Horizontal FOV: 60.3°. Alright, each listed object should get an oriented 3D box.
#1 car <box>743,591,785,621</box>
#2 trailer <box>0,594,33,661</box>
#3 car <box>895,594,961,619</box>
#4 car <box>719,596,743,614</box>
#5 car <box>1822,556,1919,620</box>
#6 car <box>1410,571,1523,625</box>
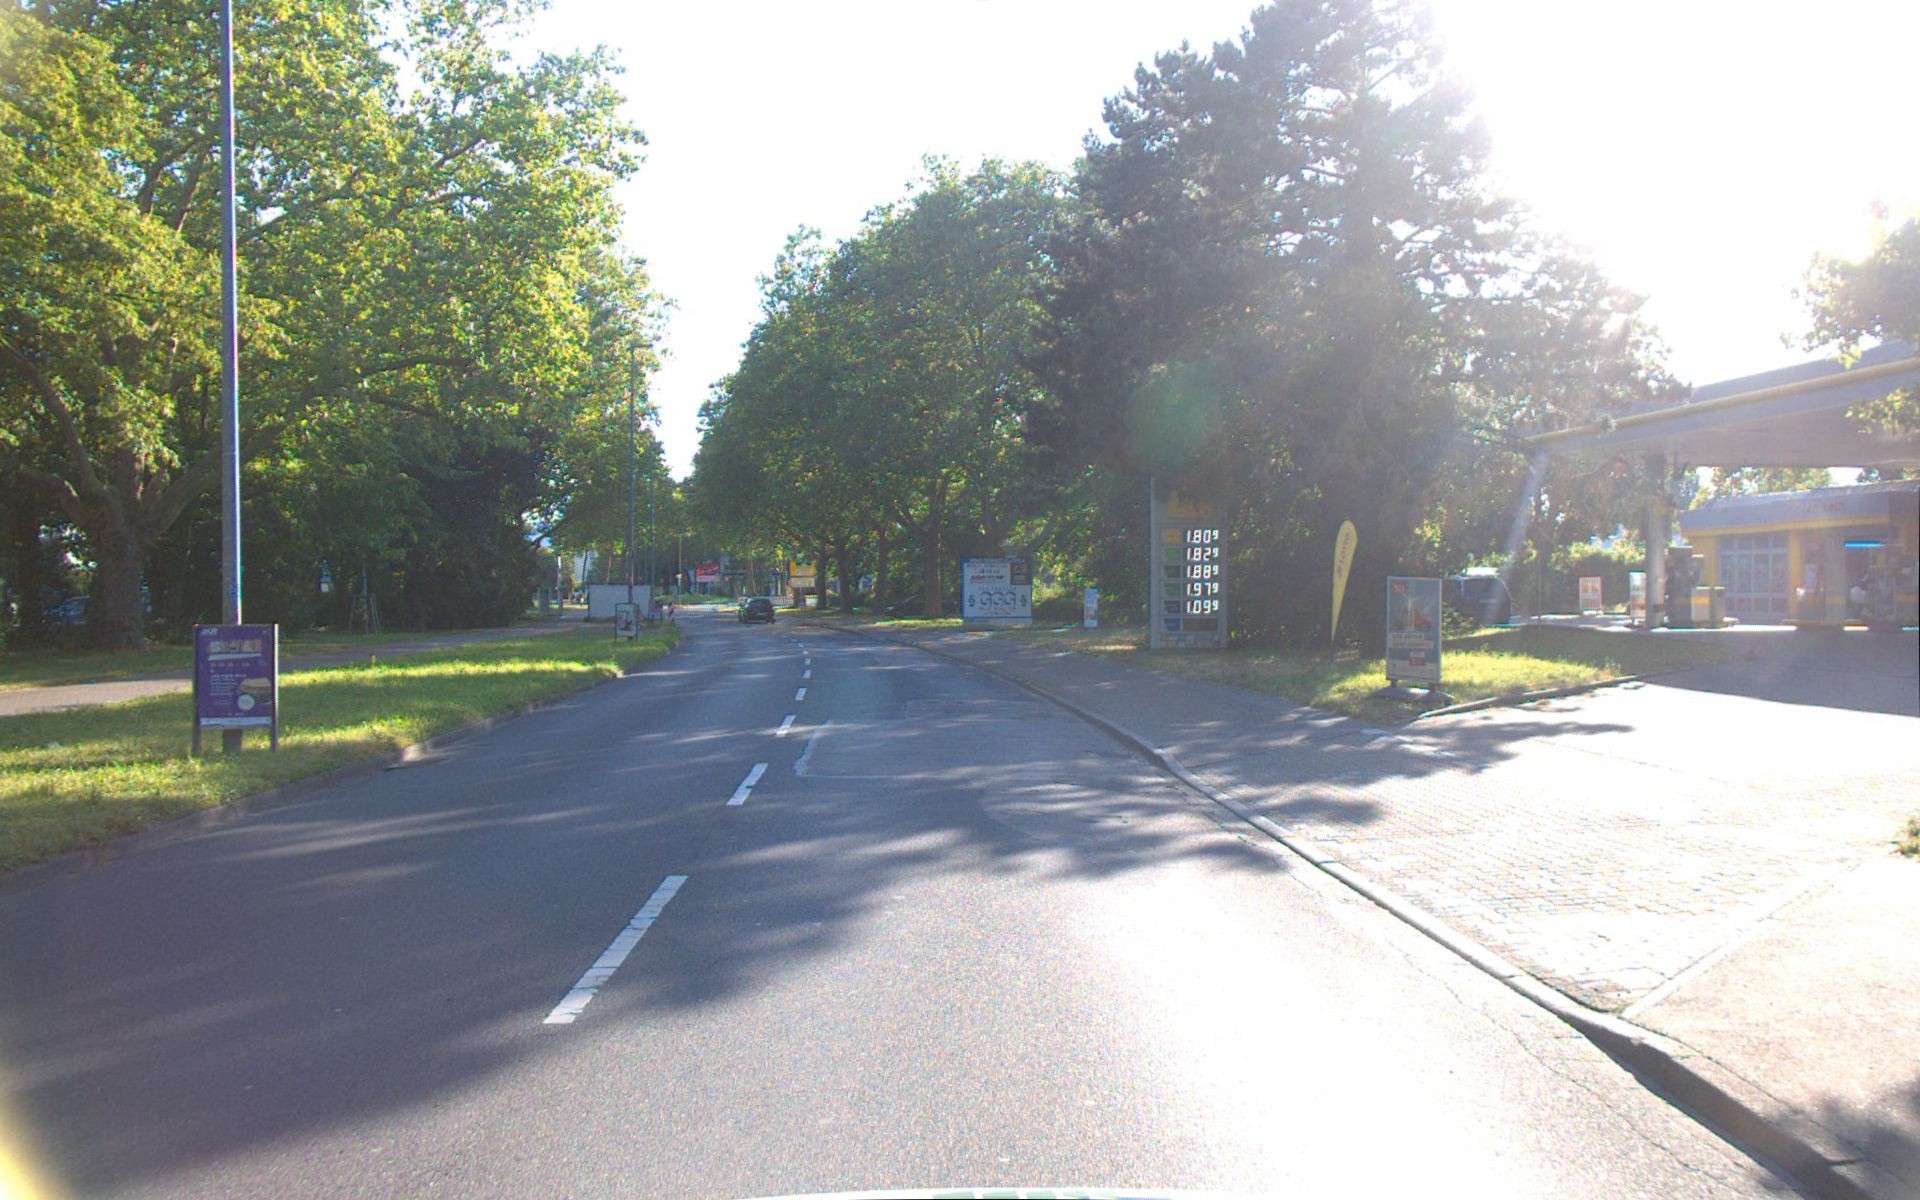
[{"bbox_3d":[-11.025,0.307,93.168,1.801,1.633,3.864,0,0,2],"label":"car"},{"bbox_3d":[-24.663,0.655,39.503,3.912,1.583,1.997,0,0,-8],"label":"trailer"},{"bbox_3d":[-2.012,0.382,102.791,3.914,1.468,1.757,-1,0,-10],"label":"car"},{"bbox_3d":[-26.566,0.561,192.009,1.951,2.049,4.002,0,0,4],"label":"car"},{"bbox_3d":[27.152,-0.365,47.913,1.777,1.758,4.394,-1,0,-5],"label":"car"},{"bbox_3d":[14.130,-0.070,46.370,1.804,1.445,3.998,0,0,-3],"label":"car"}]
